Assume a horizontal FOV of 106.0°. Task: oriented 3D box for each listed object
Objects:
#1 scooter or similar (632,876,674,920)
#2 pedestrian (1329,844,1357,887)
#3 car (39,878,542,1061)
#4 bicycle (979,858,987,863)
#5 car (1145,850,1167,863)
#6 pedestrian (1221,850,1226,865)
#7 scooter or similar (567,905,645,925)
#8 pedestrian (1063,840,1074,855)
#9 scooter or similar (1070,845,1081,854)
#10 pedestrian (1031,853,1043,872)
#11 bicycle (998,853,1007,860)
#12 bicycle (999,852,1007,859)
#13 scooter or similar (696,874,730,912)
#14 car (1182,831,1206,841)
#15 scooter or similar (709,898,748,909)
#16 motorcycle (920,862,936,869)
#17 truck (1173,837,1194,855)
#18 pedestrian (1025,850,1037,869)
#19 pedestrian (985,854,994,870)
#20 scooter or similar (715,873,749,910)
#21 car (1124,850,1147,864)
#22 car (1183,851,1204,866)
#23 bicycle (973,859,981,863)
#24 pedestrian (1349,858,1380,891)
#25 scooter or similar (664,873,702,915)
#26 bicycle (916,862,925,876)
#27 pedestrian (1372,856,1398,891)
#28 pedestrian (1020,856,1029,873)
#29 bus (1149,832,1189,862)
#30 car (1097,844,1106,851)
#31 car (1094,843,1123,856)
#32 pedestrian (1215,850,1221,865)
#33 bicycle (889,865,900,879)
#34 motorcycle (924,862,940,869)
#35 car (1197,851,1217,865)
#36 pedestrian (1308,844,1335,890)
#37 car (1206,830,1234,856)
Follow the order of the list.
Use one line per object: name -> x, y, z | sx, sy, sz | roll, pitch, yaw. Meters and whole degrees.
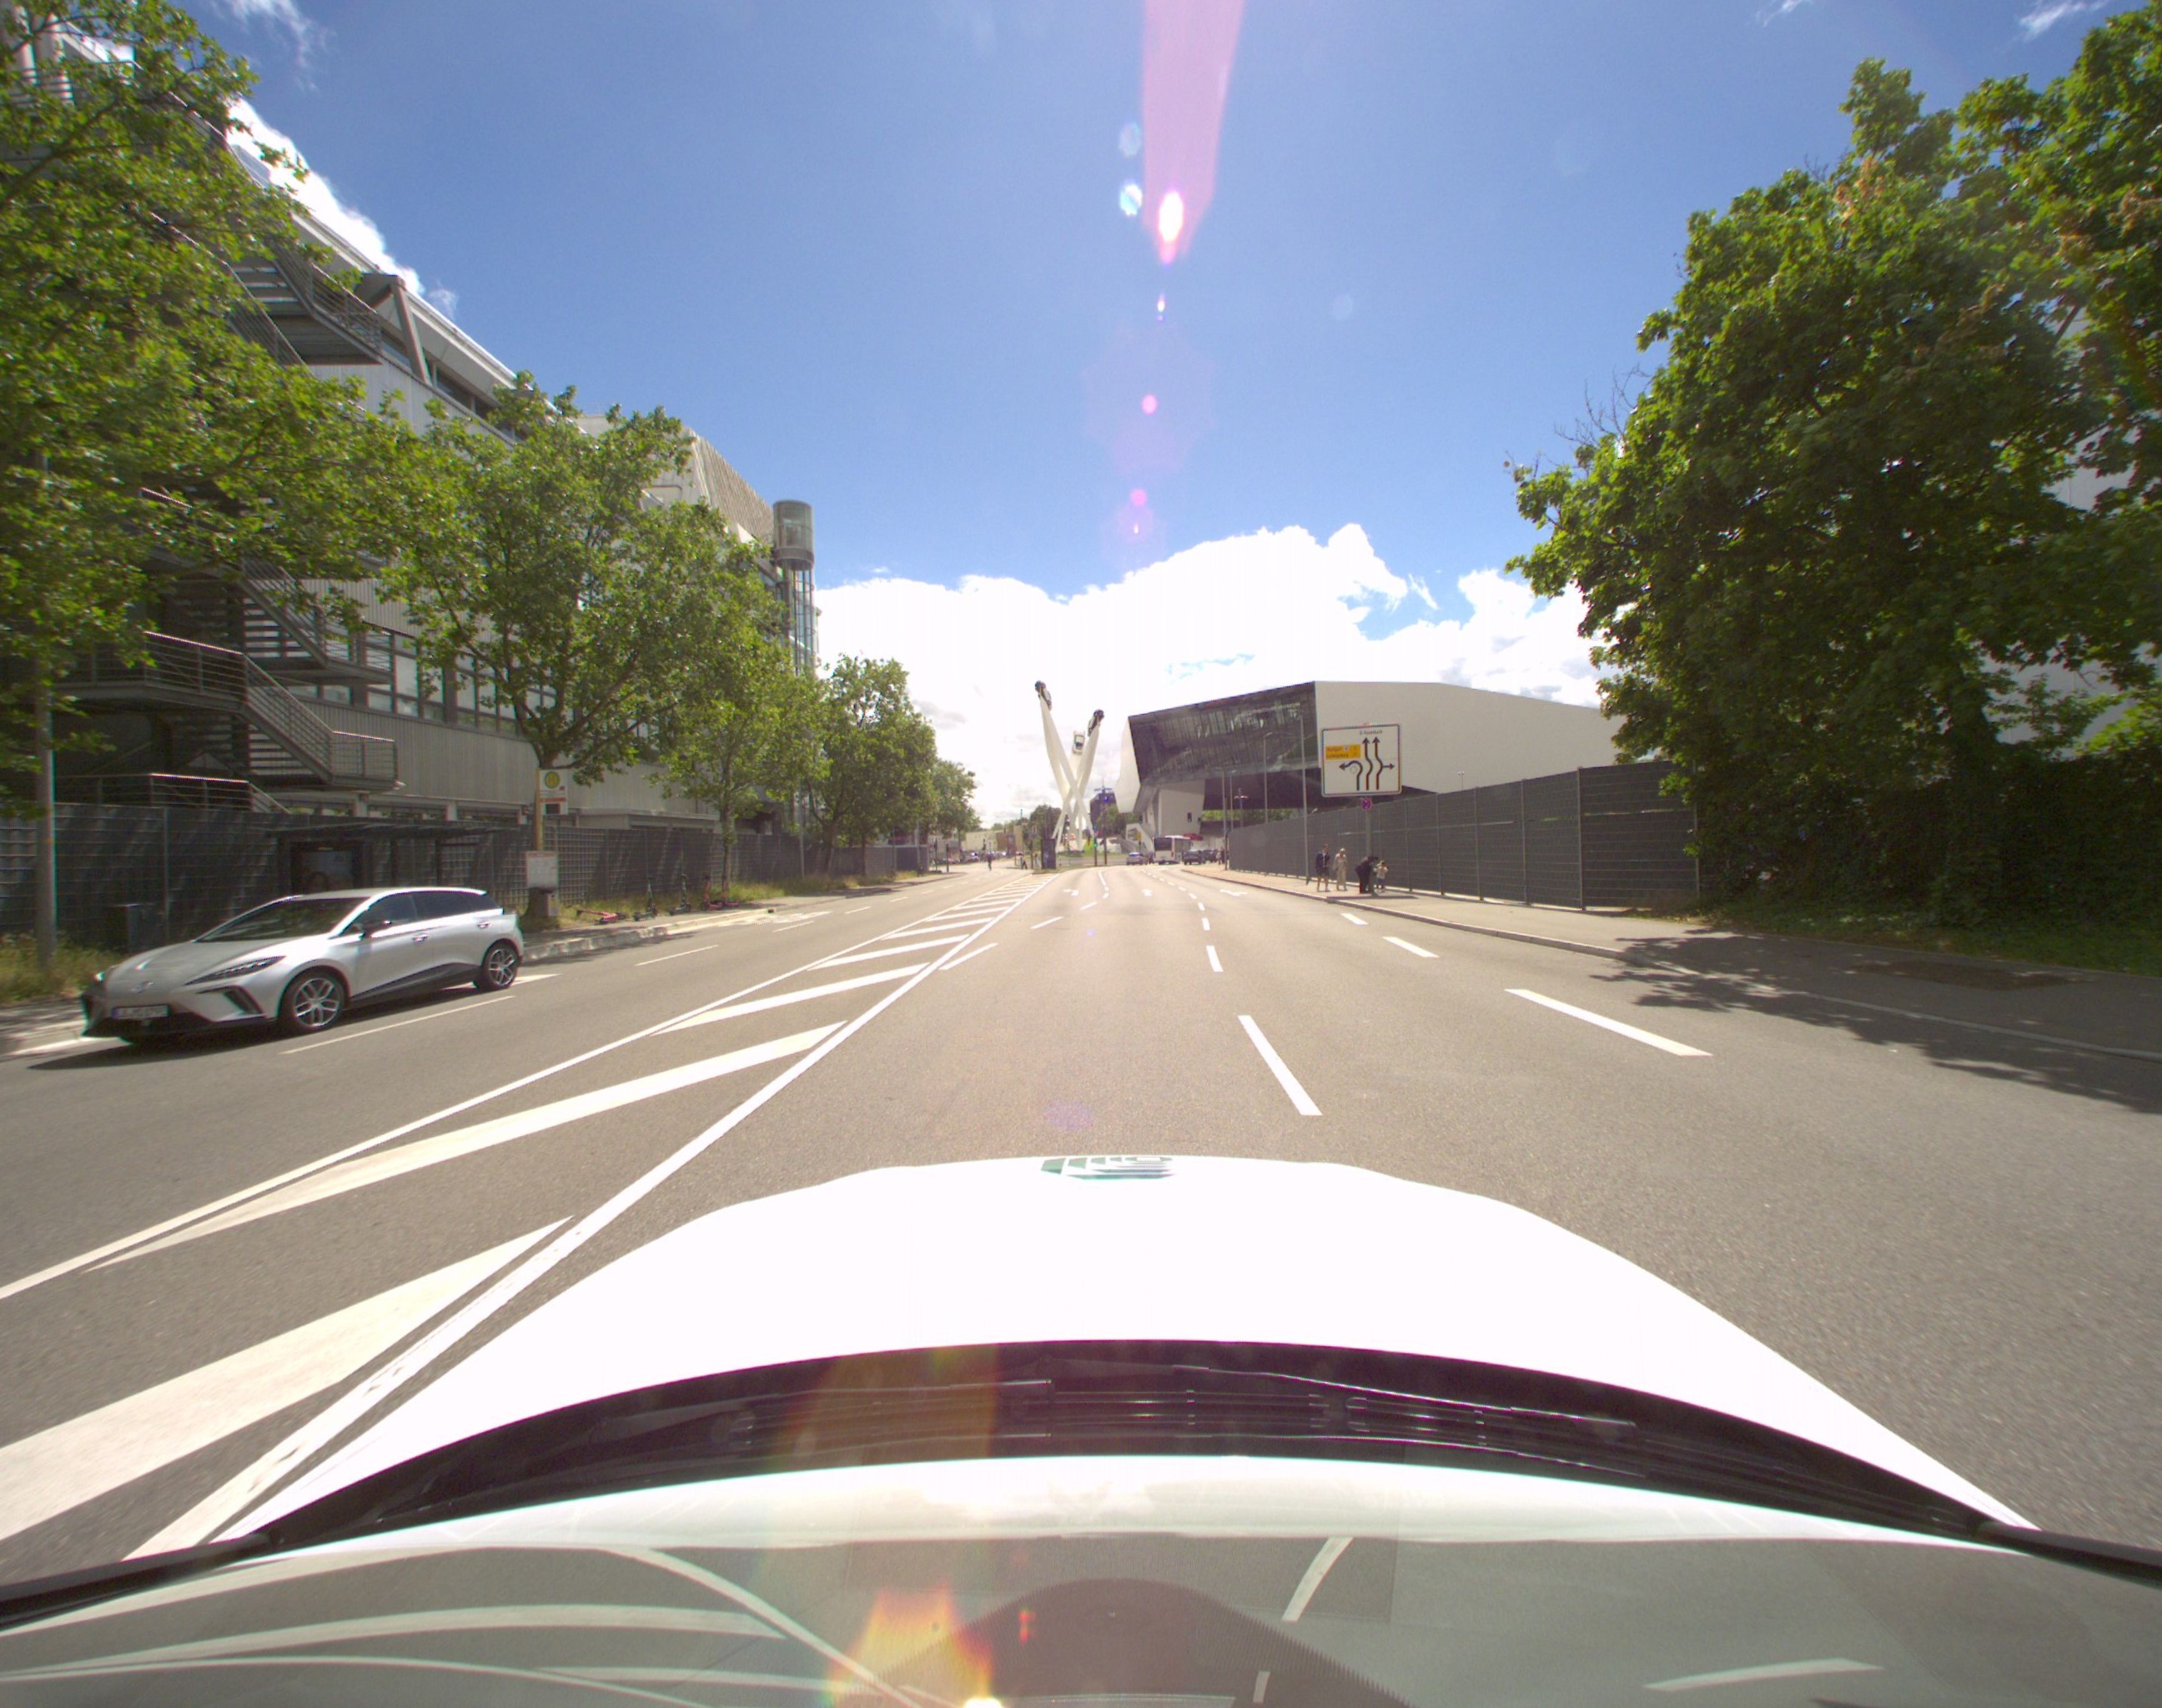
scooter or similar -> -12.918, 1.305, 24.622 | 0.521, 1.234, 1.318 | 2, 1, 0
pedestrian -> 9.832, 0.439, 30.595 | 0.792, 1.597, 0.731 | 0, -1, 0
car -> -8.997, 1.171, 9.926 | 1.871, 1.505, 4.192 | -3, 0, 2
bicycle -> -18.218, 1.147, 151.118 | 0.486, 0.866, 1.621 | -1, 2, 41
car -> 10.003, 0.312, 108.475 | 1.977, 1.637, 4.019 | -1, -1, 19
pedestrian -> 15.746, 0.353, 90.067 | 0.462, 1.616, 0.663 | 0, -1, 3
scooter or similar -> -13.476, 1.723, 23.132 | 1.347, 0.380, 1.499 | 2, 1, 36
pedestrian -> -1.628, -0.829, 107.403 | 1.279, 1.816, 0.986 | -5, 4, -4
scooter or similar -> -0.742, -0.548, 107.458 | 1.398, 1.025, 0.549 | -4, 6, -5
pedestrian -> -4.714, 0.917, 87.872 | 0.944, 2.055, 0.955 | -1, -1, 19
bicycle -> -15.193, 0.438, 157.623 | 1.600, 1.316, 0.492 | 0, -1, -1
bicycle -> -15.210, 0.375, 159.169 | 1.600, 1.382, 0.492 | 0, -1, -1
scooter or similar -> -12.803, 1.358, 28.357 | 0.521, 1.234, 1.318 | 2, 1, 2
car -> 22.337, -3.591, 161.676 | 2.012, 1.394, 4.460 | -6, 10, -43
scooter or similar -> -13.207, 1.840, 30.538 | 0.532, 0.322, 1.280 | -1, 1, 25
motorcycle -> -29.158, 2.193, 155.086 | 2.879, 1.196, 0.924 | -1, -1, 19
truck -> 14.789, -1.080, 117.198 | 2.190, 2.516, 5.154 | -1, -1, 15
pedestrian -> -5.451, 0.609, 88.942 | 0.944, 2.055, 0.955 | -1, -1, 19
pedestrian -> -10.013, 0.888, 89.536 | 0.864, 1.774, 1.031 | 0, -1, -13
scooter or similar -> -12.717, 1.357, 29.738 | 0.520, 1.234, 1.320 | 2, 1, 7
car -> 6.357, 0.361, 94.943 | 1.979, 1.637, 4.014 | -1, -1, 13
car -> 12.486, 0.491, 90.262 | 1.979, 1.636, 4.015 | -1, 0, 13
bicycle -> -19.772, 1.299, 155.196 | 0.486, 0.866, 1.621 | -1, -1, 36
pedestrian -> 9.814, 0.706, 28.220 | 0.754, 1.149, 0.972 | 0, -1, 4
scooter or similar -> -12.772, 1.267, 26.156 | 0.521, 1.234, 1.318 | 2, 1, 0
bicycle -> -13.093, 1.200, 66.476 | 0.295, 1.131, 1.486 | 0, -1, 4
pedestrian -> 10.596, 0.664, 28.401 | 0.711, 1.207, 0.599 | 0, -1, 4
pedestrian -> -5.996, 1.140, 86.283 | 0.864, 1.774, 1.031 | 0, -1, -13
bus -> 10.878, -0.693, 98.997 | 3.049, 3.362, 12.270 | -1, -1, 15
car -> 4.947, -1.602, 193.110 | 1.986, 1.635, 4.659 | 0, 1, 2
car -> 4.528, -0.746, 135.311 | 4.596, 2.171, 2.012 | -1, -1, 41
pedestrian -> 14.681, 0.386, 87.223 | 0.655, 1.608, 0.825 | -1, -1, 12
bicycle -> -13.744, 1.330, 60.043 | 0.294, 1.006, 1.256 | -1, -1, 11
motorcycle -> -28.571, 2.202, 156.148 | 2.879, 1.196, 0.924 | -1, -1, 19
car -> 14.958, 0.504, 96.271 | 1.979, 1.637, 4.014 | -1, -1, 13
pedestrian -> 9.000, 0.488, 30.476 | 0.792, 1.721, 0.731 | 0, -1, 0
car -> 20.026, -1.536, 117.664 | 3.318, 3.504, 9.357 | 0, -1, 6
